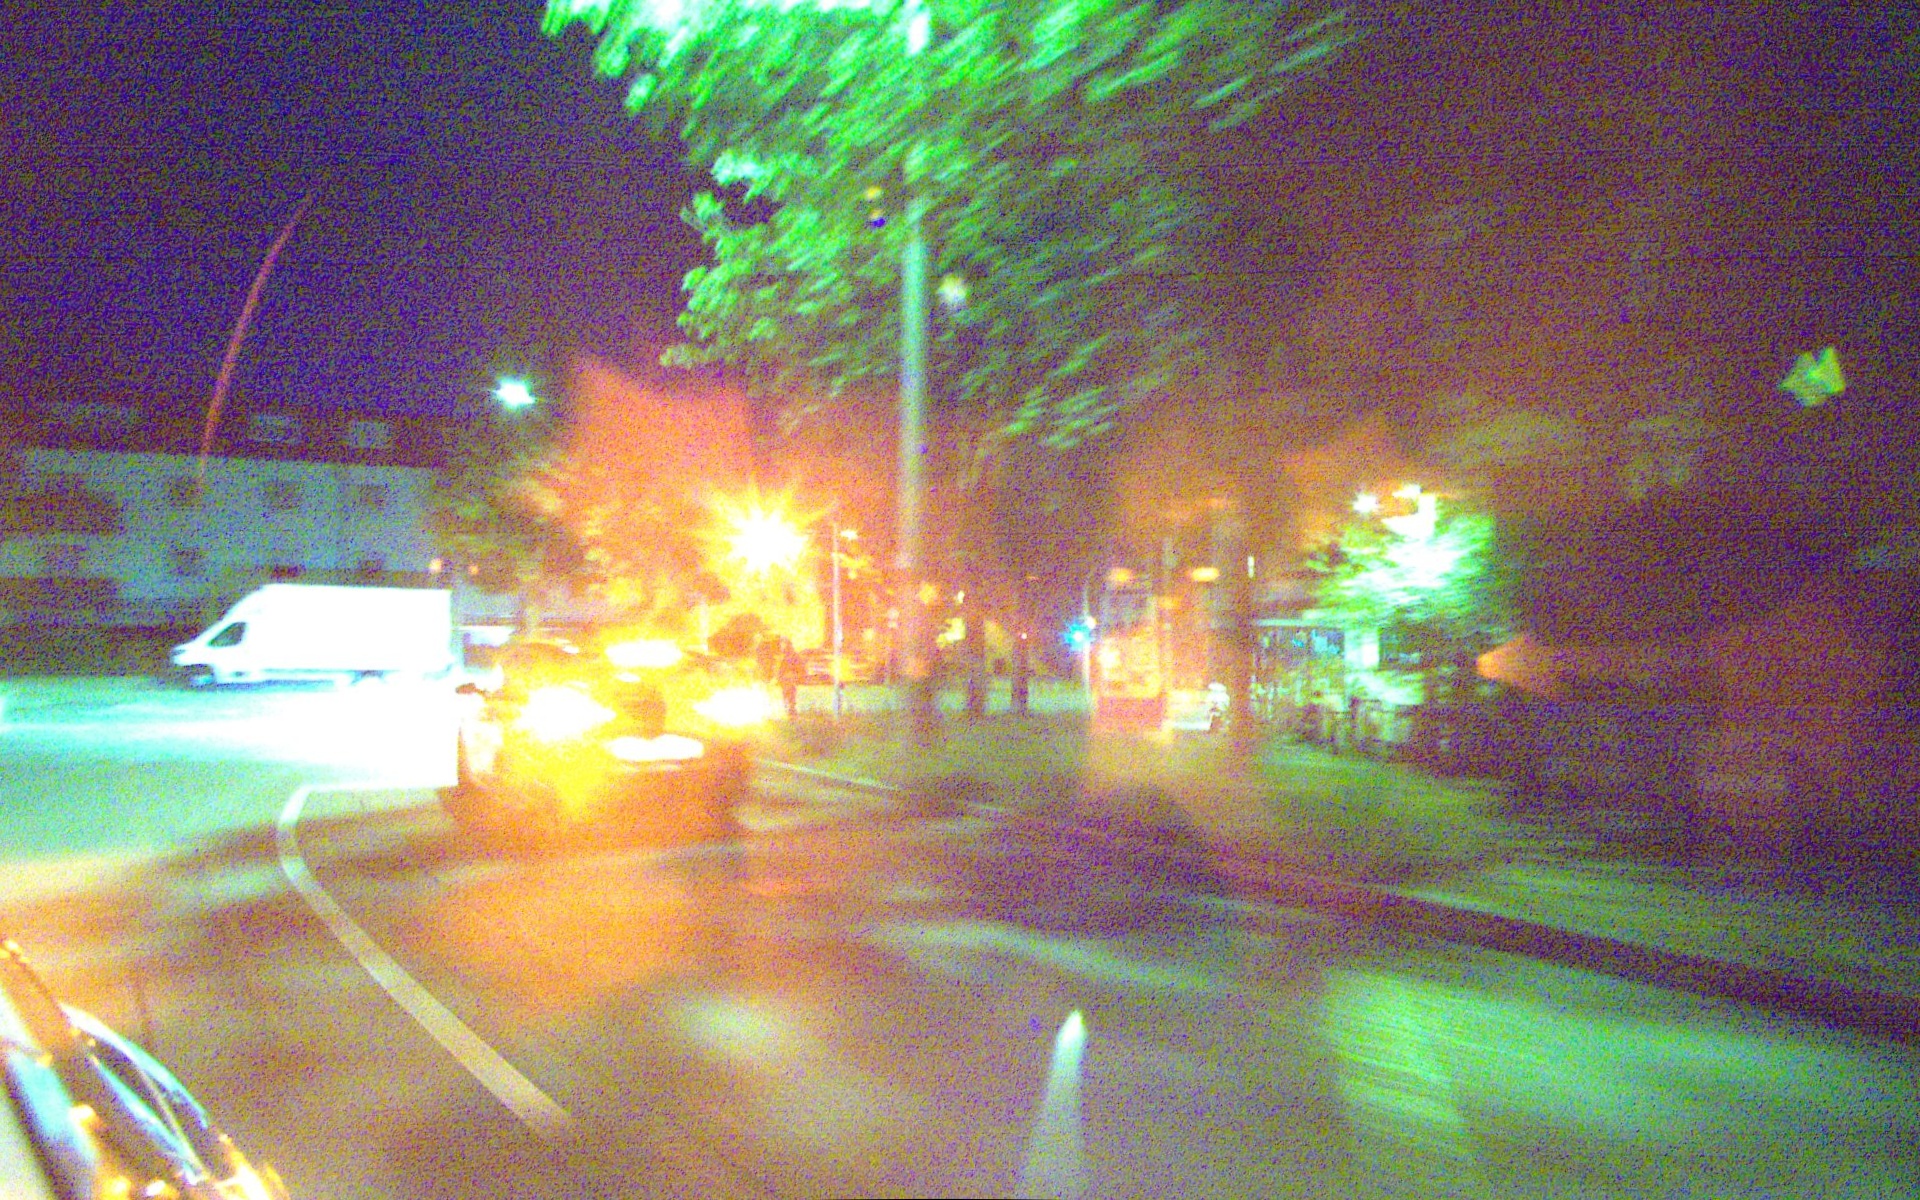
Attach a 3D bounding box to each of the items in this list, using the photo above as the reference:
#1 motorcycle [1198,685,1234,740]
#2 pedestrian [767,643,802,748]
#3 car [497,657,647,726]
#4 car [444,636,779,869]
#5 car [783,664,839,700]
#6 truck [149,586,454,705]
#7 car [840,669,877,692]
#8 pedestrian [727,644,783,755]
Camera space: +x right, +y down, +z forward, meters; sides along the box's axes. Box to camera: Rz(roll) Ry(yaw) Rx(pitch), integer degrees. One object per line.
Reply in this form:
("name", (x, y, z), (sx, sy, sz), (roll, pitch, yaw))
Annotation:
("motorcycle", (6.233, 2.702, 24.567), (0.614, 1.239, 2.026), (0, -5, 21))
("pedestrian", (-3.102, 1.694, 17.926), (0.515, 1.806, 0.693), (2, -5, -6))
("car", (-9.079, 2.141, 23.855), (1.507, 1.513, 3.020), (-2, -6, 28))
("car", (-3.172, 1.061, 8.576), (1.702, 1.441, 4.301), (2, -4, -32))
("car", (-6.959, 3.776, 46.955), (2.018, 1.567, 4.267), (2, -4, -16))
("truck", (-18.691, 1.344, 29.346), (6.914, 3.067, 2.782), (3, -2, -24))
("car", (-6.303, 5.010, 63.155), (1.620, 1.367, 3.688), (1, -4, 5))
("pedestrian", (-3.429, 1.655, 16.925), (0.716, 1.783, 0.968), (3, -5, -20))
